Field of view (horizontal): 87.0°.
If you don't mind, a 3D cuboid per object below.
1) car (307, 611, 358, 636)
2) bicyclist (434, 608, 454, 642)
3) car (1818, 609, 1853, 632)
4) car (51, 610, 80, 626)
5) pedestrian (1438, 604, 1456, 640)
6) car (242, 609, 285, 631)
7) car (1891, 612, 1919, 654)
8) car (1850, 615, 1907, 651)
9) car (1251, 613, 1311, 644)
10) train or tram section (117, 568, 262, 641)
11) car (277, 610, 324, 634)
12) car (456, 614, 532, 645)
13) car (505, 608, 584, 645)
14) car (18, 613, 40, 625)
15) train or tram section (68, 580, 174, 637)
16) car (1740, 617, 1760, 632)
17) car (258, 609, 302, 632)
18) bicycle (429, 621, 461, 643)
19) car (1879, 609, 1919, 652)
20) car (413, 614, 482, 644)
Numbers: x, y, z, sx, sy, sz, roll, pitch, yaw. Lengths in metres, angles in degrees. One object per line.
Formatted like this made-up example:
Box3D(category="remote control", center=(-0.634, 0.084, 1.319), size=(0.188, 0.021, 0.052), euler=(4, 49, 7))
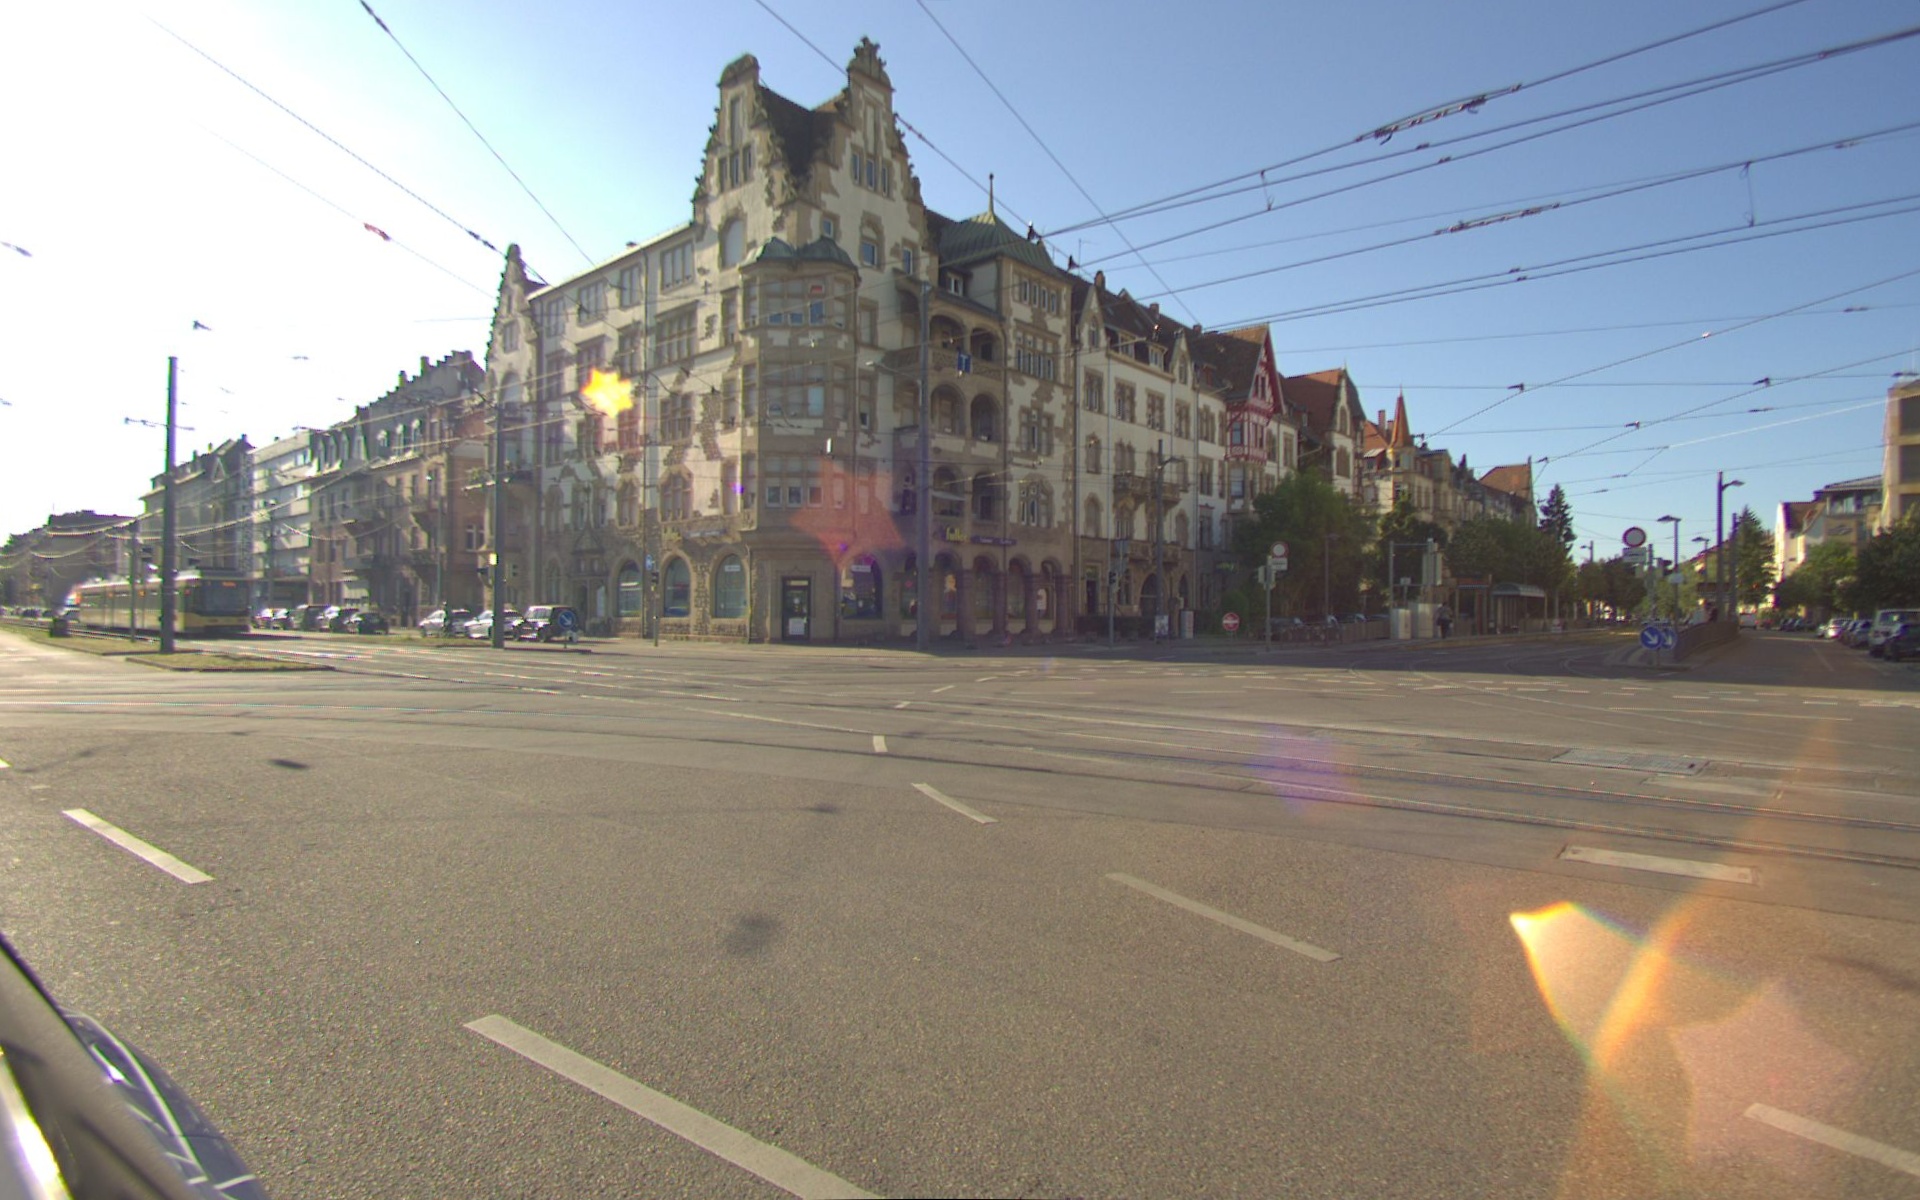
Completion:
Box3D(category="car", center=(-40.468, 1.493, 65.214), size=(3.999, 1.536, 1.718), euler=(-1, 0, 42))
Box3D(category="bicyclist", center=(-24.873, 1.195, 48.805), size=(0.630, 1.631, 0.675), euler=(-1, -1, 40))
Box3D(category="car", center=(70.694, 1.650, 81.794), size=(1.998, 1.837, 3.947), euler=(-1, -1, 39))
Box3D(category="car", center=(-95.894, 1.945, 108.513), size=(3.997, 1.682, 1.758), euler=(-1, -1, 40))
Box3D(category="pedestrian", center=(22.871, 1.033, 47.535), size=(0.576, 1.695, 0.615), euler=(0, -1, 9))
Box3D(category="car", center=(-52.339, 1.469, 76.018), size=(3.999, 1.536, 1.718), euler=(-1, 0, 42))
Box3D(category="car", center=(35.215, 1.186, 36.715), size=(1.889, 1.475, 3.947), euler=(-1, -1, 39))
Box3D(category="car", center=(48.439, 1.704, 53.410), size=(1.998, 1.837, 3.947), euler=(-1, -1, 39))
Box3D(category="car", center=(17.018, 1.477, 53.567), size=(1.725, 1.586, 3.948), euler=(-1, -1, 39))
Box3D(category="train or tram section", center=(-42.333, 0.388, 55.063), size=(19.468, 3.424, 2.745), euler=(-1, -1, 42))
Box3D(category="car", center=(-45.143, 1.484, 69.220), size=(3.999, 1.536, 1.718), euler=(-1, 0, 42))
Box3D(category="car", center=(-23.335, 1.471, 50.632), size=(4.428, 1.487, 1.706), euler=(-1, -1, 39))
Box3D(category="car", center=(-19.397, 1.221, 47.175), size=(3.997, 1.682, 1.758), euler=(-1, -1, 40))
Box3D(category="car", center=(-127.765, 2.617, 138.884), size=(3.997, 1.682, 1.758), euler=(-1, -1, 40))
Box3D(category="train or tram section", center=(-56.751, 0.549, 68.131), size=(19.469, 3.424, 2.745), euler=(0, 0, 42))
Box3D(category="car", center=(105.343, 3.245, 134.999), size=(1.998, 2.029, 3.947), euler=(-1, -1, 39))
Box3D(category="car", center=(-48.985, 1.476, 72.868), size=(3.999, 1.536, 1.718), euler=(-1, 0, 42))
Box3D(category="bicycle", center=(-24.860, 1.521, 48.813), size=(2.067, 1.010, 0.600), euler=(-1, -1, 40))
Box3D(category="car", center=(38.806, 1.225, 41.366), size=(1.648, 1.674, 3.602), euler=(-1, -1, 39))
Box3D(category="car", center=(-27.446, 1.517, 54.133), size=(3.993, 1.536, 1.721), euler=(-1, 0, 37))
